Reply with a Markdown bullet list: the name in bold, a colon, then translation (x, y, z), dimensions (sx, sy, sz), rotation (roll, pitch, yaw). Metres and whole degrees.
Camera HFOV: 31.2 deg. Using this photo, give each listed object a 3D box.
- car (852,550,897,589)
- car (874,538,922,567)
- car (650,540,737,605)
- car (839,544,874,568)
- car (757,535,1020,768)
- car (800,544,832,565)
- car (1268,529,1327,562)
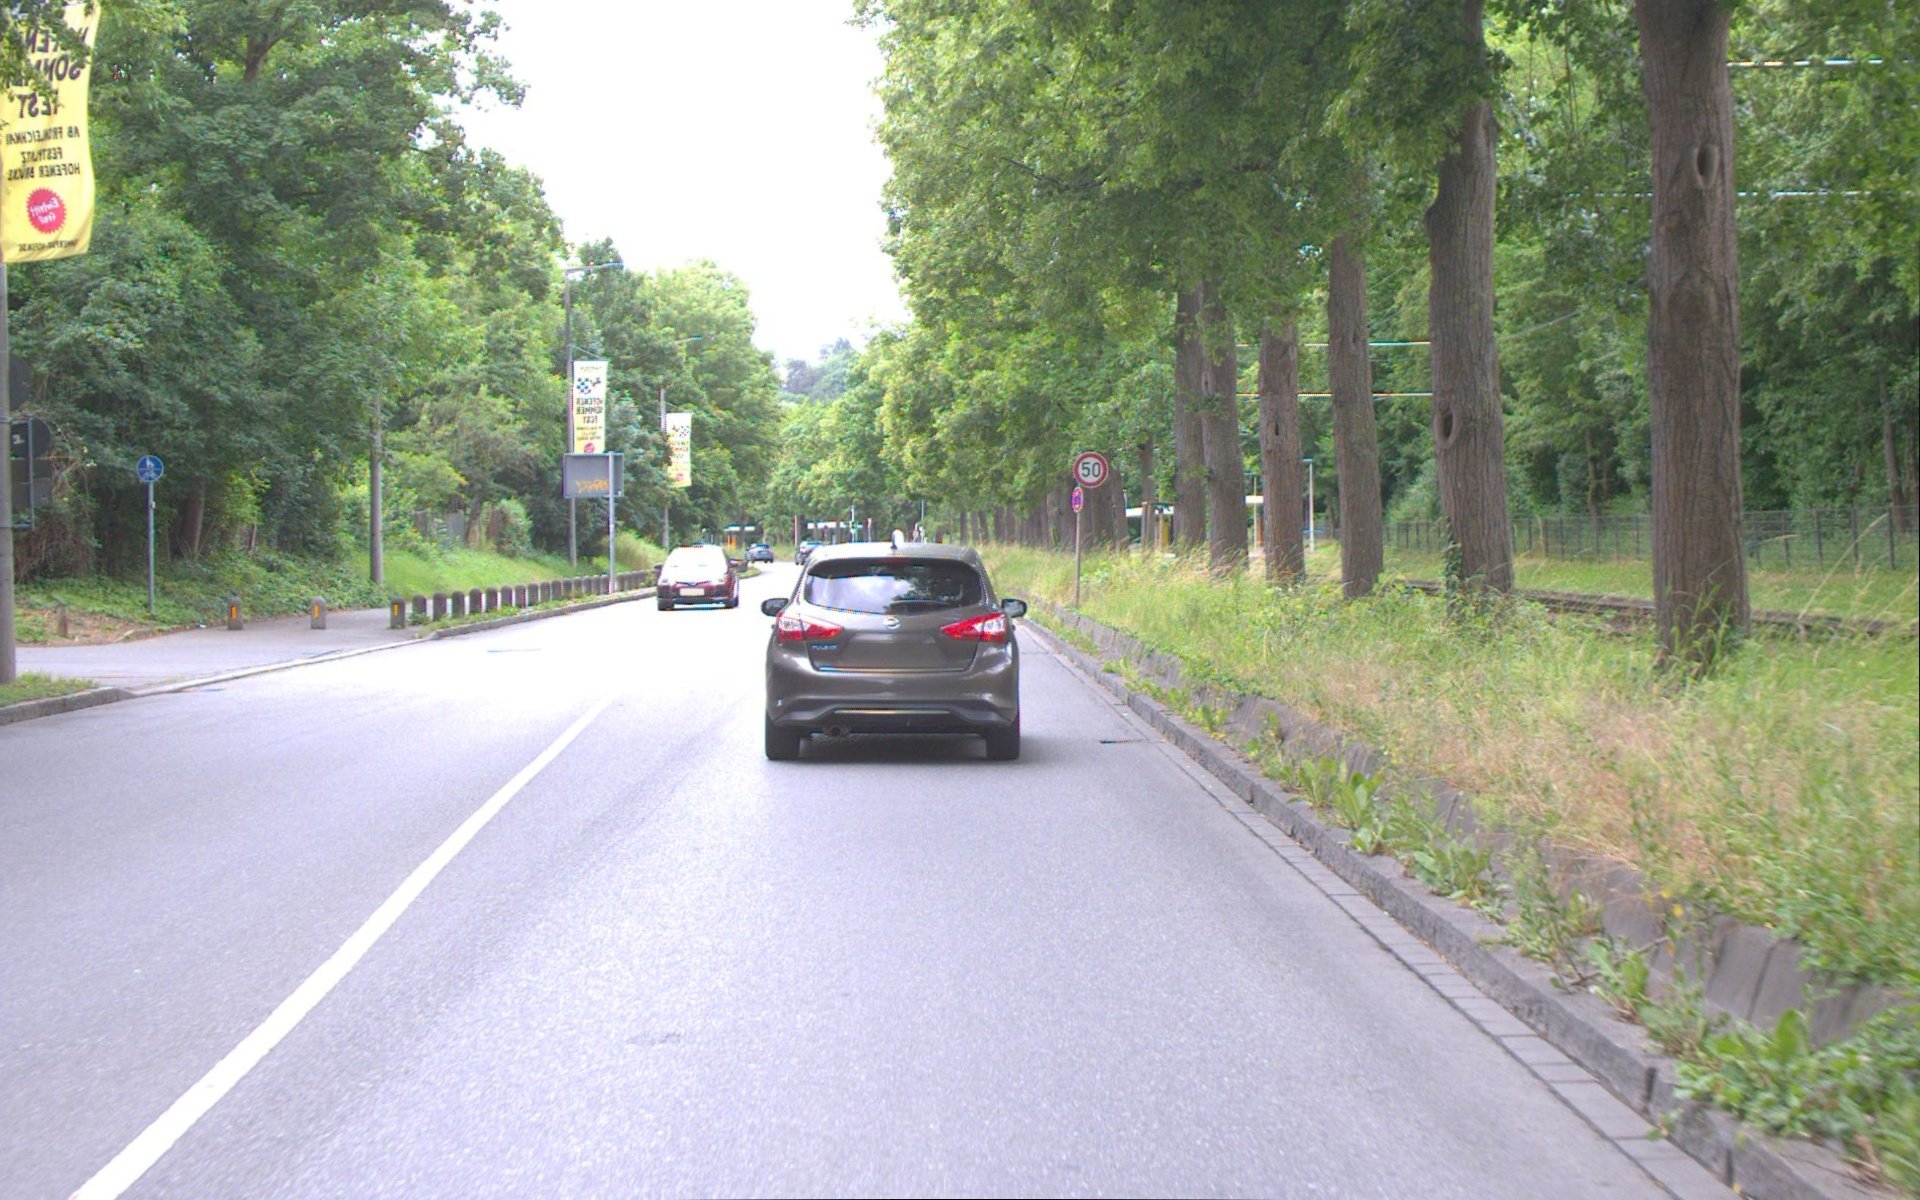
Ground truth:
- **car**: translation (-3.288, -1.182, 132.720), dimensions (1.561, 1.436, 3.552), rotation (1, 1, 2)
- **car**: translation (-3.153, -2.414, 173.845), dimensions (1.561, 1.436, 3.553), rotation (1, 1, -15)
- **car**: translation (-6.159, -0.653, 79.897), dimensions (1.716, 1.423, 4.197), rotation (-2, 1, -1)
- **car**: translation (-6.369, -2.693, 211.258), dimensions (1.561, 1.436, 3.553), rotation (1, 1, -11)
- **car**: translation (-0.522, 0.318, 24.787), dimensions (1.730, 1.532, 3.552), rotation (1, 1, -1)
- **car**: translation (-10.109, -3.214, 241.258), dimensions (1.561, 1.436, 3.553), rotation (1, 1, -13)
- **car**: translation (14.963, -2.423, 152.539), dimensions (1.561, 1.436, 3.553), rotation (1, 1, -12)
